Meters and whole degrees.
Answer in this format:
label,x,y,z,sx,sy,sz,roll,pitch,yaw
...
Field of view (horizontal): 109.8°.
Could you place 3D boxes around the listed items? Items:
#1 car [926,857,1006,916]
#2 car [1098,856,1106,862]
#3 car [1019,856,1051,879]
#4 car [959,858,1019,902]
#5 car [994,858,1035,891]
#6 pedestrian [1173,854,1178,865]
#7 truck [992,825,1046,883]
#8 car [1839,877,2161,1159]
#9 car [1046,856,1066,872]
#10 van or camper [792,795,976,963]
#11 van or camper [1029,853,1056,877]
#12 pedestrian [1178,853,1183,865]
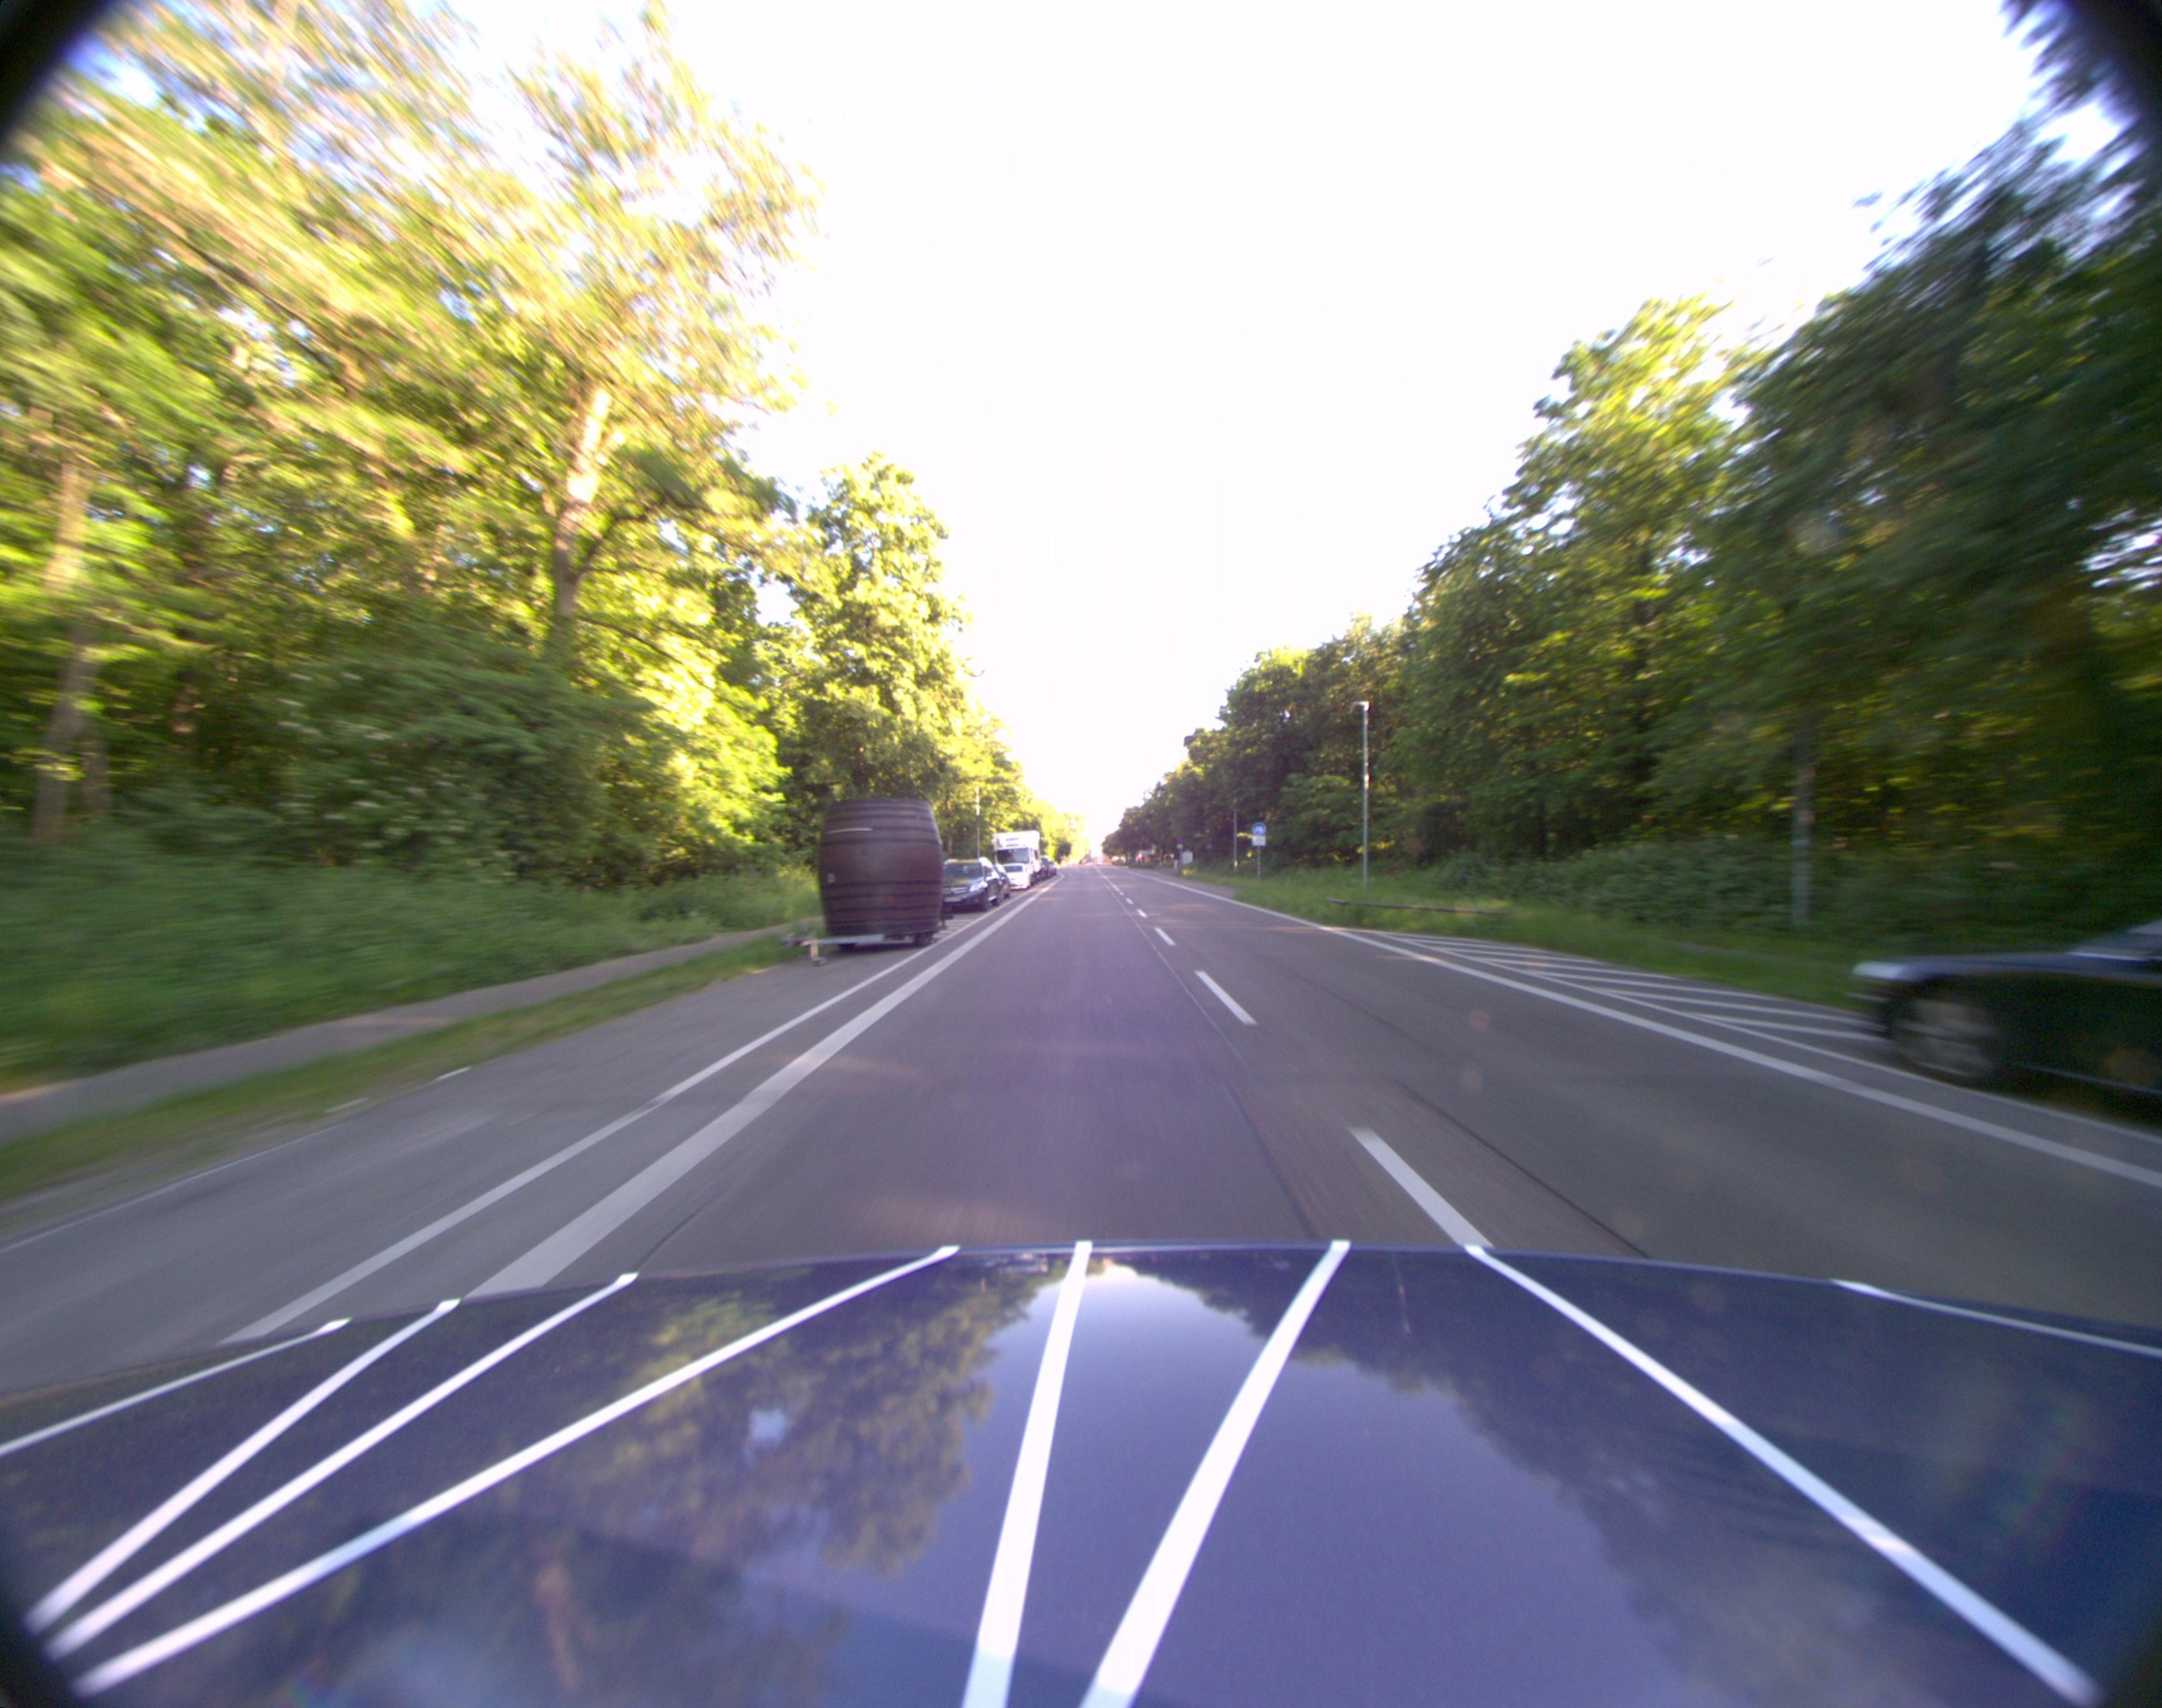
label,x,y,z,sx,sy,sz,roll,pitch,yaw
car,-3.660,0.985,24.943,1.716,1.655,4.552,-3,0,2
car,5.840,1.284,209.669,1.830,1.517,3.943,-1,0,-2
car,-3.509,1.015,58.490,1.802,1.647,4.030,-1,0,5
car,-3.691,0.985,31.207,1.716,1.559,4.552,-3,0,2
car,-3.480,1.048,40.620,1.716,1.559,4.000,-3,0,0
pedestrian,13.276,0.758,106.841,0.676,1.644,0.790,-1,0,5
truck,-3.944,0.006,49.902,2.840,3.477,8.577,-1,0,0
car,6.768,0.913,3.460,1.832,1.467,4.680,0,0,-2
car,-2.515,0.998,77.067,1.803,1.585,4.029,-1,0,1
van or camper,-3.826,0.427,16.344,2.448,2.783,6.554,-3,0,-3
van or camper,-3.252,0.915,64.954,1.902,2.002,4.587,-1,0,1
pedestrian,13.976,0.664,106.773,0.676,1.644,0.790,-1,0,5
